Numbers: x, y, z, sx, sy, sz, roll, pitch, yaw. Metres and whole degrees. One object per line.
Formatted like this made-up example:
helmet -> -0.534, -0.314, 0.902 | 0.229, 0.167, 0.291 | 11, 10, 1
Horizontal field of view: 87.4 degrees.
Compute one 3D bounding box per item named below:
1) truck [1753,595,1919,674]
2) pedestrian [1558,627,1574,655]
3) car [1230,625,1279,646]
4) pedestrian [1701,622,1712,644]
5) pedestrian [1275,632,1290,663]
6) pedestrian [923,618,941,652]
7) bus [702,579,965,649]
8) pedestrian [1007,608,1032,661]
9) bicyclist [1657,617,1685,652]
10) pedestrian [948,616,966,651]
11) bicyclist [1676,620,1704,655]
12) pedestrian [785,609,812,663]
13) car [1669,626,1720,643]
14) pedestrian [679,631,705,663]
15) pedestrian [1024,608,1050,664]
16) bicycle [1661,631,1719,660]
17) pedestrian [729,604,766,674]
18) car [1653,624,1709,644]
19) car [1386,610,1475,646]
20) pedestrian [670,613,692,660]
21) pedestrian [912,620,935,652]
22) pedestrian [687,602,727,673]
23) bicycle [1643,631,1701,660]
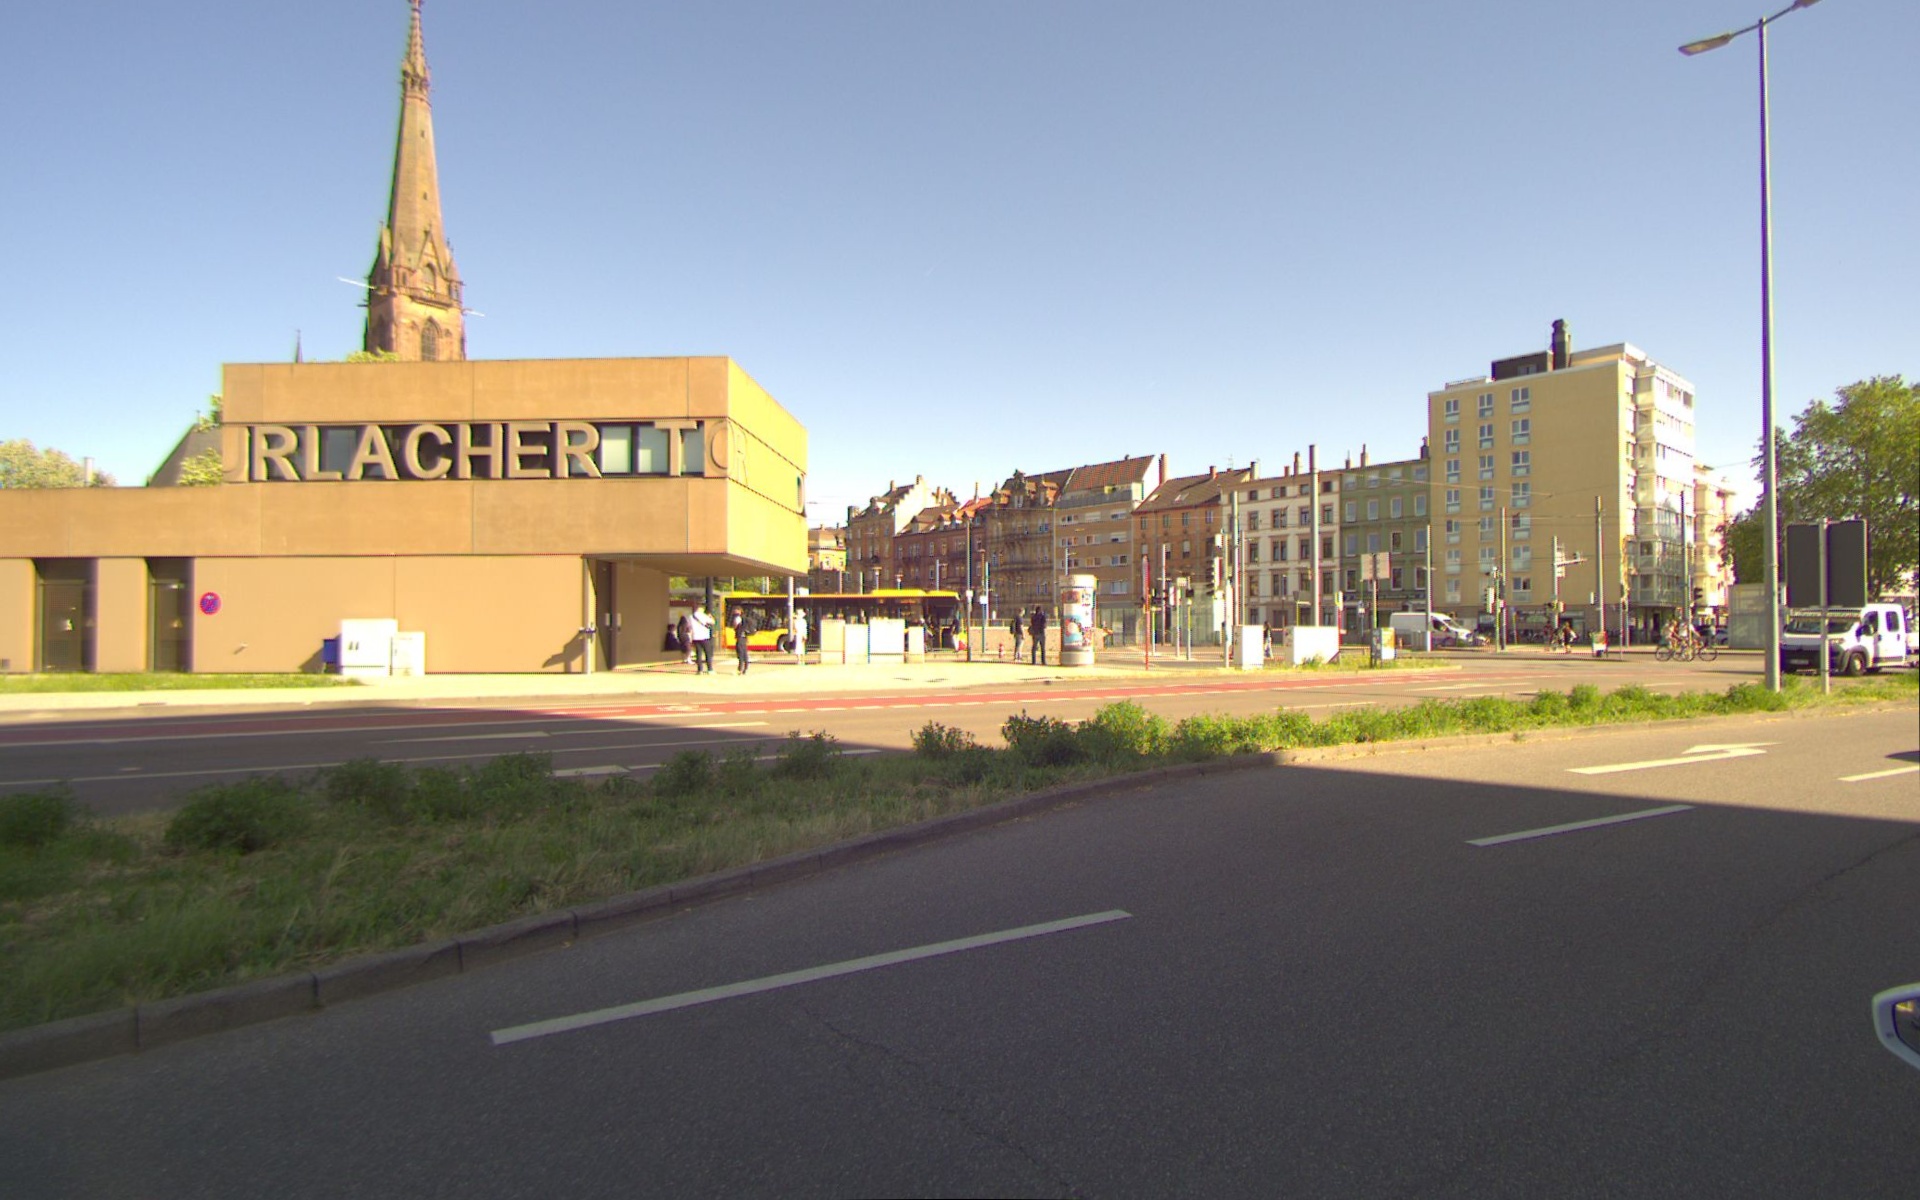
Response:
truck -> 28.754, 1.079, 31.692 | 6.766, 2.344, 2.216 | 1, -1, -14
pedestrian -> 32.111, 2.174, 53.220 | 0.564, 1.427, 0.588 | -2, 1, -40
car -> 27.651, 3.298, 94.462 | 1.983, 1.795, 3.955 | -2, 0, -39
pedestrian -> 57.144, 2.552, 76.875 | 0.600, 1.632, 0.795 | -1, 1, 43
pedestrian -> 9.571, 1.397, 29.801 | 0.351, 0.909, 0.298 | 1, -1, -35
pedestrian -> -1.284, 1.629, 46.726 | 0.627, 1.556, 0.800 | 0, -1, 16
bus -> -6.021, 0.724, 48.960 | 12.335, 3.258, 2.975 | 0, -1, 4
pedestrian -> 2.008, 1.178, 34.004 | 0.634, 1.746, 0.791 | 2, -2, 16
bicyclist -> 30.227, 1.457, 42.697 | 0.634, 1.463, 0.772 | 1, -1, -25
pedestrian -> -0.137, 1.533, 46.044 | 0.627, 1.556, 0.964 | 0, -1, 11
bicyclist -> 31.234, 1.607, 42.969 | 0.635, 1.463, 0.771 | 1, -1, -26
pedestrian -> -5.343, 1.176, 33.220 | 0.634, 1.746, 0.791 | 2, -1, 4
car -> 61.437, 2.869, 84.063 | 1.515, 1.334, 3.231 | -2, 0, -44
pedestrian -> -8.345, 1.459, 31.267 | 0.563, 0.979, 0.509 | 2, -2, 9
pedestrian -> 2.468, 1.143, 32.205 | 0.634, 1.765, 0.790 | 2, 1, 16
bicycle -> 31.219, 1.925, 42.990 | 0.634, 1.180, 1.944 | 1, -1, -25
pedestrian -> -5.478, 1.007, 25.865 | 0.738, 1.746, 0.640 | 3, -2, -24
car -> 58.070, 2.722, 80.923 | 1.681, 1.530, 3.400 | 1, -1, -43
car -> 33.324, 1.976, 71.288 | 1.984, 2.443, 5.439 | 1, -2, -41
pedestrian -> -9.414, 1.231, 33.894 | 0.503, 1.529, 0.743 | 3, -2, -29
pedestrian -> -1.654, 1.600, 45.268 | 0.786, 1.412, 0.639 | 0, -1, 31
pedestrian -> -6.374, 0.945, 25.361 | 0.584, 1.746, 0.791 | 2, -2, 16
bicycle -> 30.234, 1.916, 42.676 | 0.634, 1.180, 1.944 | 1, -1, -25
